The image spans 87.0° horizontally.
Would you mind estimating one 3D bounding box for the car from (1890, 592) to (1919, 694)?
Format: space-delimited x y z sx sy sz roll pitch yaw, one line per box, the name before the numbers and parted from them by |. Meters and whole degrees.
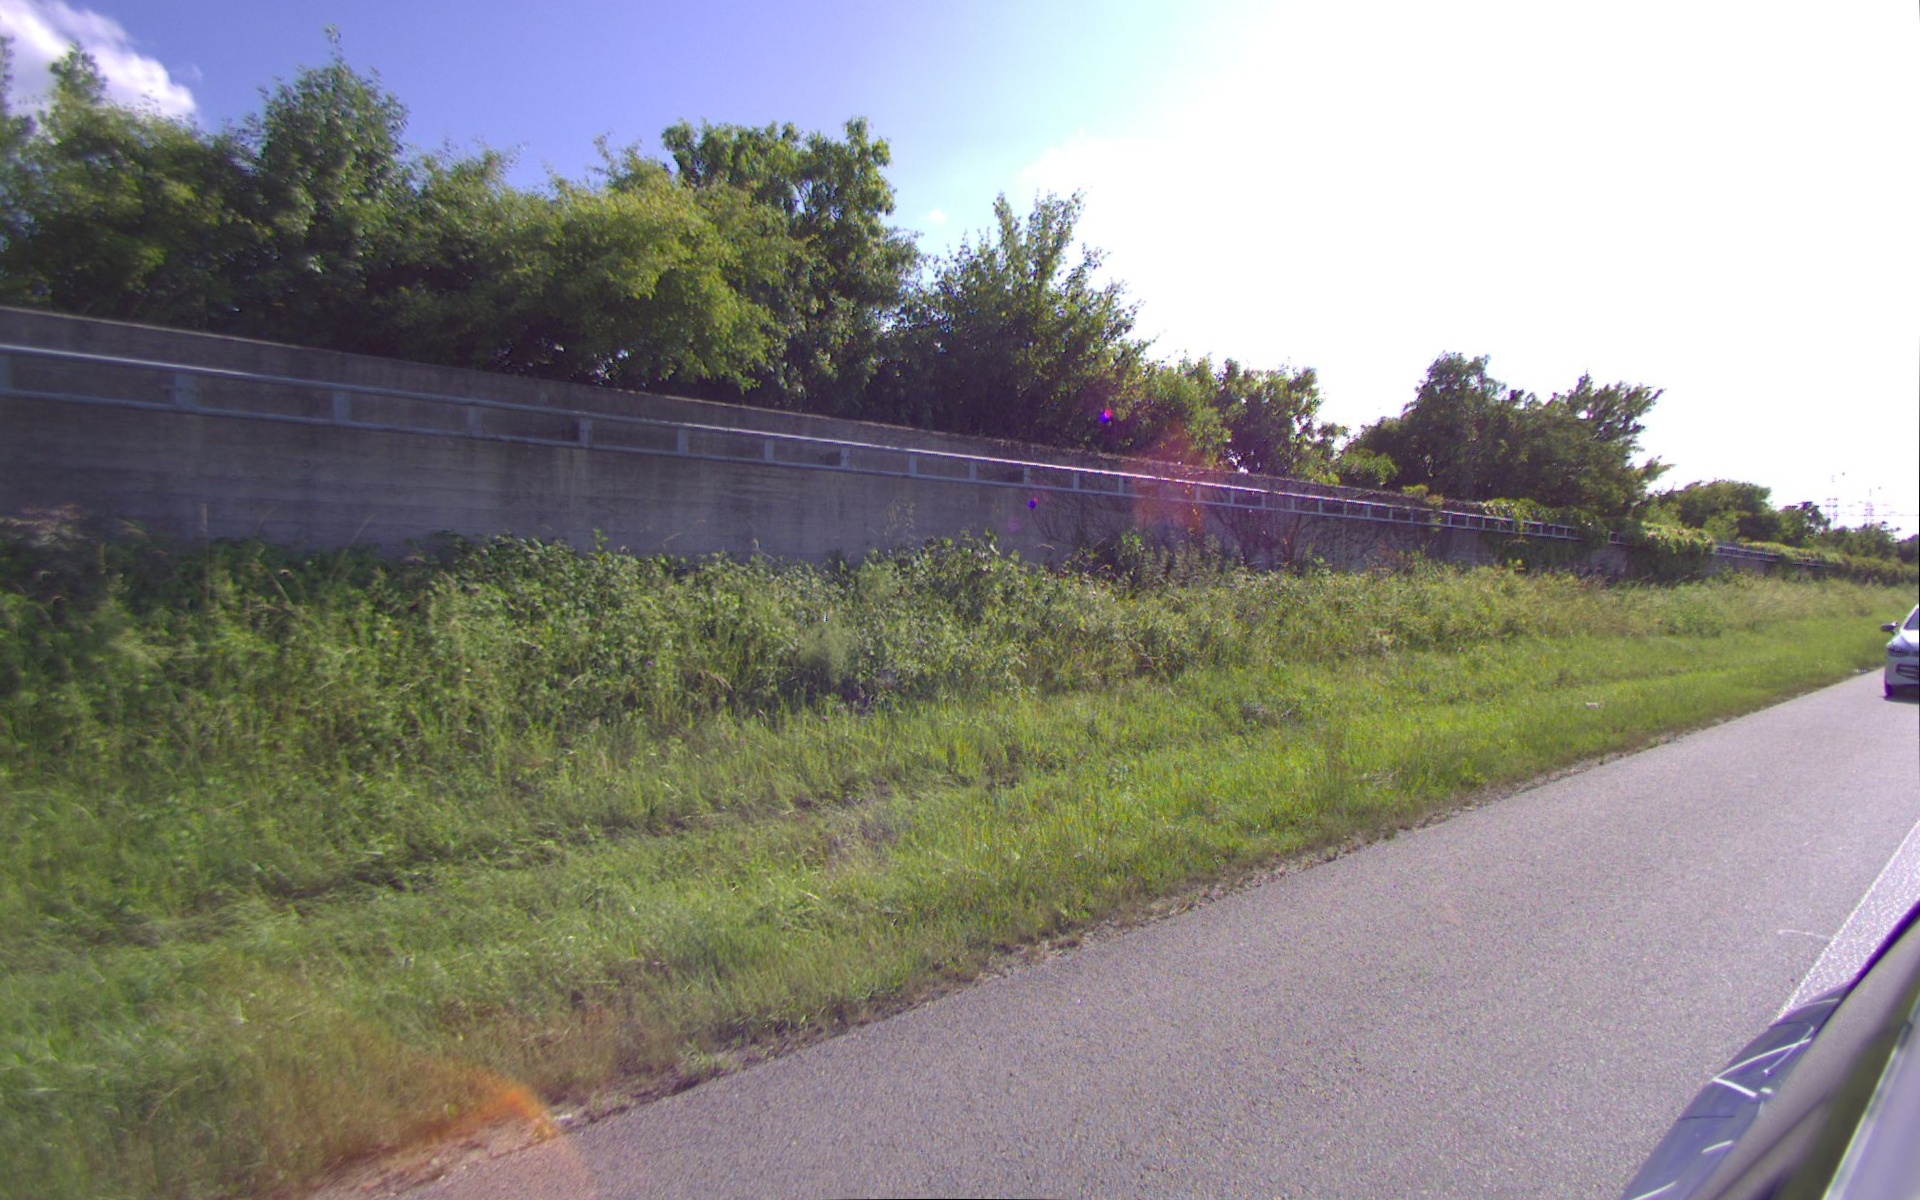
car | 15.596 0.611 15.415 4.251 1.443 1.715 0 1 -42
